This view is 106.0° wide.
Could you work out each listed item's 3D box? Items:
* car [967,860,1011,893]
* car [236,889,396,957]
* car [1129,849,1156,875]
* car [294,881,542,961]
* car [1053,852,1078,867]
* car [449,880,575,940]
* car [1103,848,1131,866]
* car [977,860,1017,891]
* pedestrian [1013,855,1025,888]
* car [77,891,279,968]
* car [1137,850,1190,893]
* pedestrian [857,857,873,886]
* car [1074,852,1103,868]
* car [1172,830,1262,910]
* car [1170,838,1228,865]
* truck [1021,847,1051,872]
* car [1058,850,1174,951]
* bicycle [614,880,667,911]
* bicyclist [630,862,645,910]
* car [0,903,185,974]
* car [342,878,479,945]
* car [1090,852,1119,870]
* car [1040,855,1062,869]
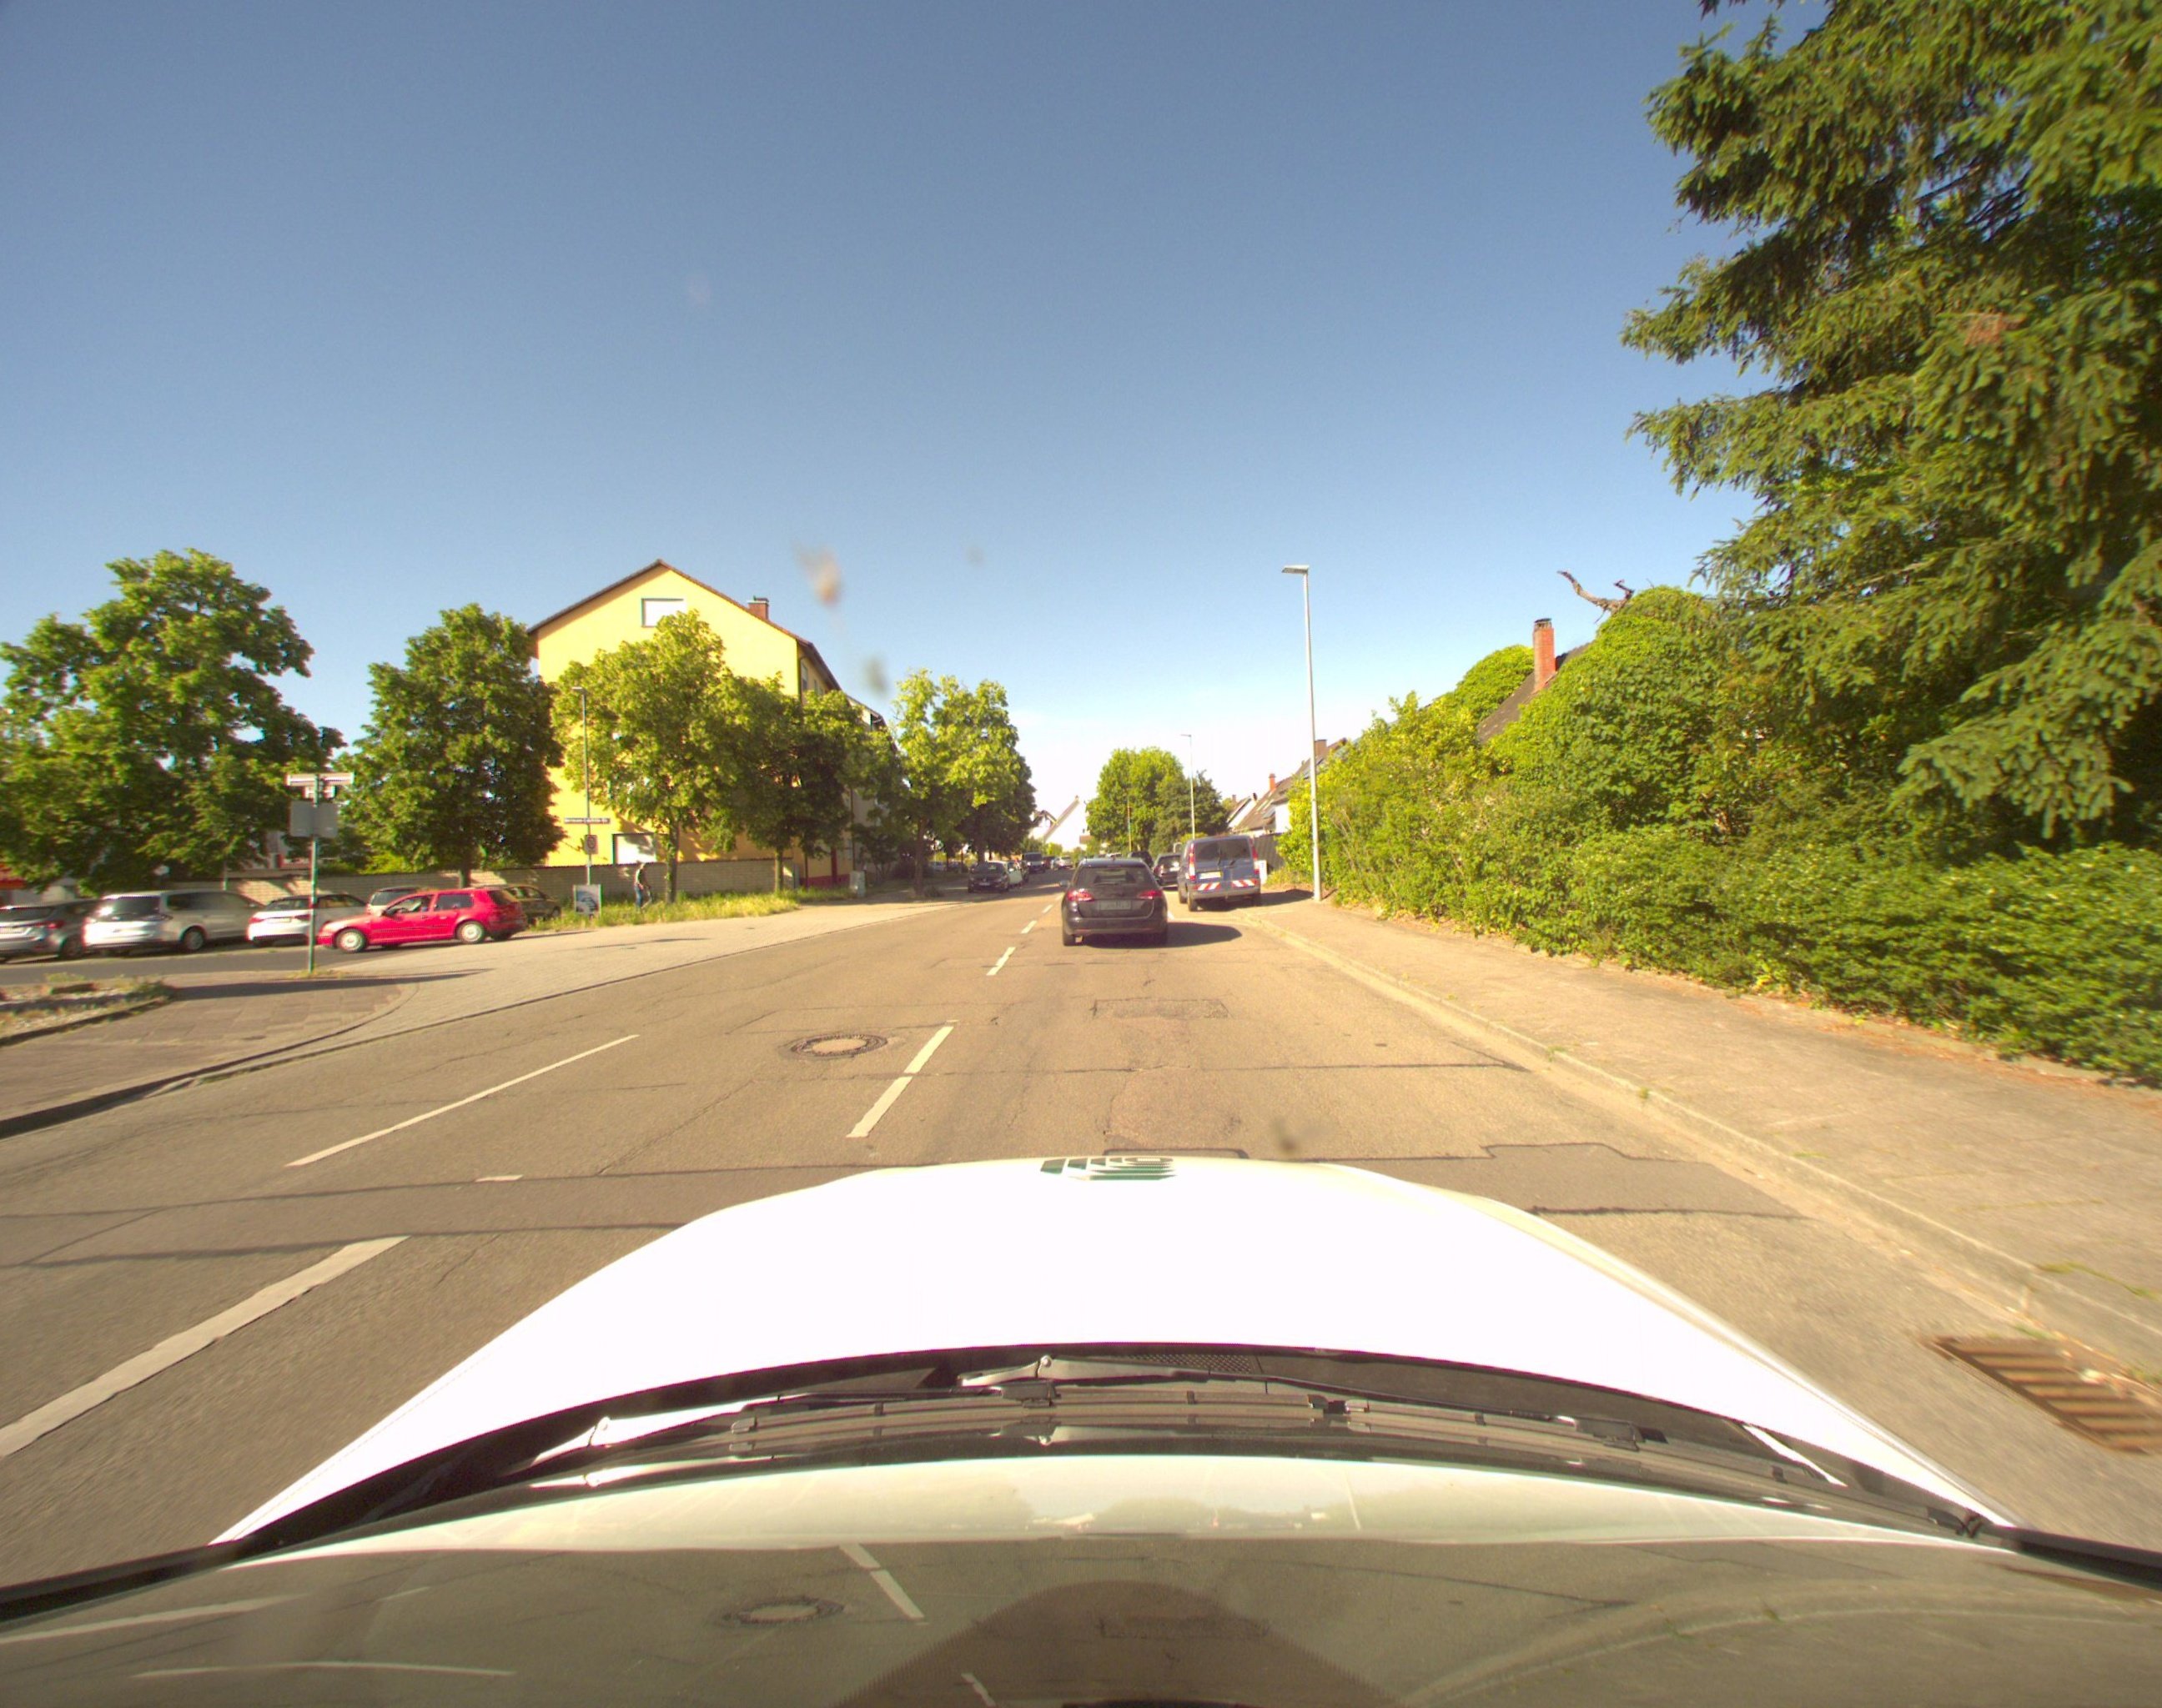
[{"bbox_3d":[-4.388,1.084,39.302,1.696,1.480,4.049,-2,-2,-1],"label":"car"},{"bbox_3d":[-22.749,1.994,24.440,1.700,1.463,3.863,-4,3,-14],"label":"car"},{"bbox_3d":[4.529,0.559,60.396,1.771,1.724,4.296,-4,0,2],"label":"car"},{"bbox_3d":[-16.746,1.636,20.867,4.388,1.568,2.008,-3,1,-16],"label":"car"},{"bbox_3d":[-1.844,0.657,95.271,1.823,1.534,4.237,-4,0,-15],"label":"car"},{"bbox_3d":[-17.679,1.681,25.541,1.730,1.464,3.866,-4,1,-11],"label":"car"},{"bbox_3d":[3.365,0.274,76.178,1.760,1.480,4.281,-4,0,-8],"label":"car"},{"bbox_3d":[-4.584,1.175,44.869,1.695,1.523,4.051,-5,-1,0],"label":"car"},{"bbox_3d":[-3.442,0.970,45.391,0.503,1.761,0.694,-4,-2,-2],"label":"pedestrian"},{"bbox_3d":[-25.414,2.062,23.145,1.698,1.679,3.868,-4,1,-10],"label":"car"},{"bbox_3d":[3.301,0.661,33.491,1.758,1.480,4.995,-5,0,2],"label":"car"},{"bbox_3d":[-13.131,1.080,49.545,0.683,1.718,0.720,-4,-2,1],"label":"pedestrian"},{"bbox_3d":[0.785,0.693,86.293,2.009,1.475,4.273,-4,0,-14],"label":"car"},{"bbox_3d":[3.655,0.383,22.726,1.829,1.907,4.701,-3,0,2],"label":"car"},{"bbox_3d":[10.121,-0.229,70.157,4.663,1.983,2.144,-4,-1,1],"label":"car"},{"bbox_3d":[-4.655,0.562,85.540,2.119,2.334,6.451,-5,0,5],"label":"truck"},{"bbox_3d":[0.613,0.743,14.858,1.755,1.491,4.292,-3,0,2],"label":"car"},{"bbox_3d":[-15.890,1.488,29.409,1.627,1.011,0.402,-3,0,-30],"label":"bicycle"},{"bbox_3d":[-15.995,1.154,29.348,0.391,1.686,0.378,-3,-2,-30],"label":"bicyclist"},{"bbox_3d":[-27.952,2.304,22.939,1.502,1.505,3.868,-4,1,-10],"label":"car"},{"bbox_3d":[-20.831,1.716,25.519,1.700,1.621,3.863,-4,2,-14],"label":"car"},{"bbox_3d":[2.299,0.719,80.732,1.913,1.600,4.276,-4,0,-12],"label":"car"},{"bbox_3d":[-3.748,0.974,100.478,1.823,1.534,4.237,-4,0,-15],"label":"car"}]
